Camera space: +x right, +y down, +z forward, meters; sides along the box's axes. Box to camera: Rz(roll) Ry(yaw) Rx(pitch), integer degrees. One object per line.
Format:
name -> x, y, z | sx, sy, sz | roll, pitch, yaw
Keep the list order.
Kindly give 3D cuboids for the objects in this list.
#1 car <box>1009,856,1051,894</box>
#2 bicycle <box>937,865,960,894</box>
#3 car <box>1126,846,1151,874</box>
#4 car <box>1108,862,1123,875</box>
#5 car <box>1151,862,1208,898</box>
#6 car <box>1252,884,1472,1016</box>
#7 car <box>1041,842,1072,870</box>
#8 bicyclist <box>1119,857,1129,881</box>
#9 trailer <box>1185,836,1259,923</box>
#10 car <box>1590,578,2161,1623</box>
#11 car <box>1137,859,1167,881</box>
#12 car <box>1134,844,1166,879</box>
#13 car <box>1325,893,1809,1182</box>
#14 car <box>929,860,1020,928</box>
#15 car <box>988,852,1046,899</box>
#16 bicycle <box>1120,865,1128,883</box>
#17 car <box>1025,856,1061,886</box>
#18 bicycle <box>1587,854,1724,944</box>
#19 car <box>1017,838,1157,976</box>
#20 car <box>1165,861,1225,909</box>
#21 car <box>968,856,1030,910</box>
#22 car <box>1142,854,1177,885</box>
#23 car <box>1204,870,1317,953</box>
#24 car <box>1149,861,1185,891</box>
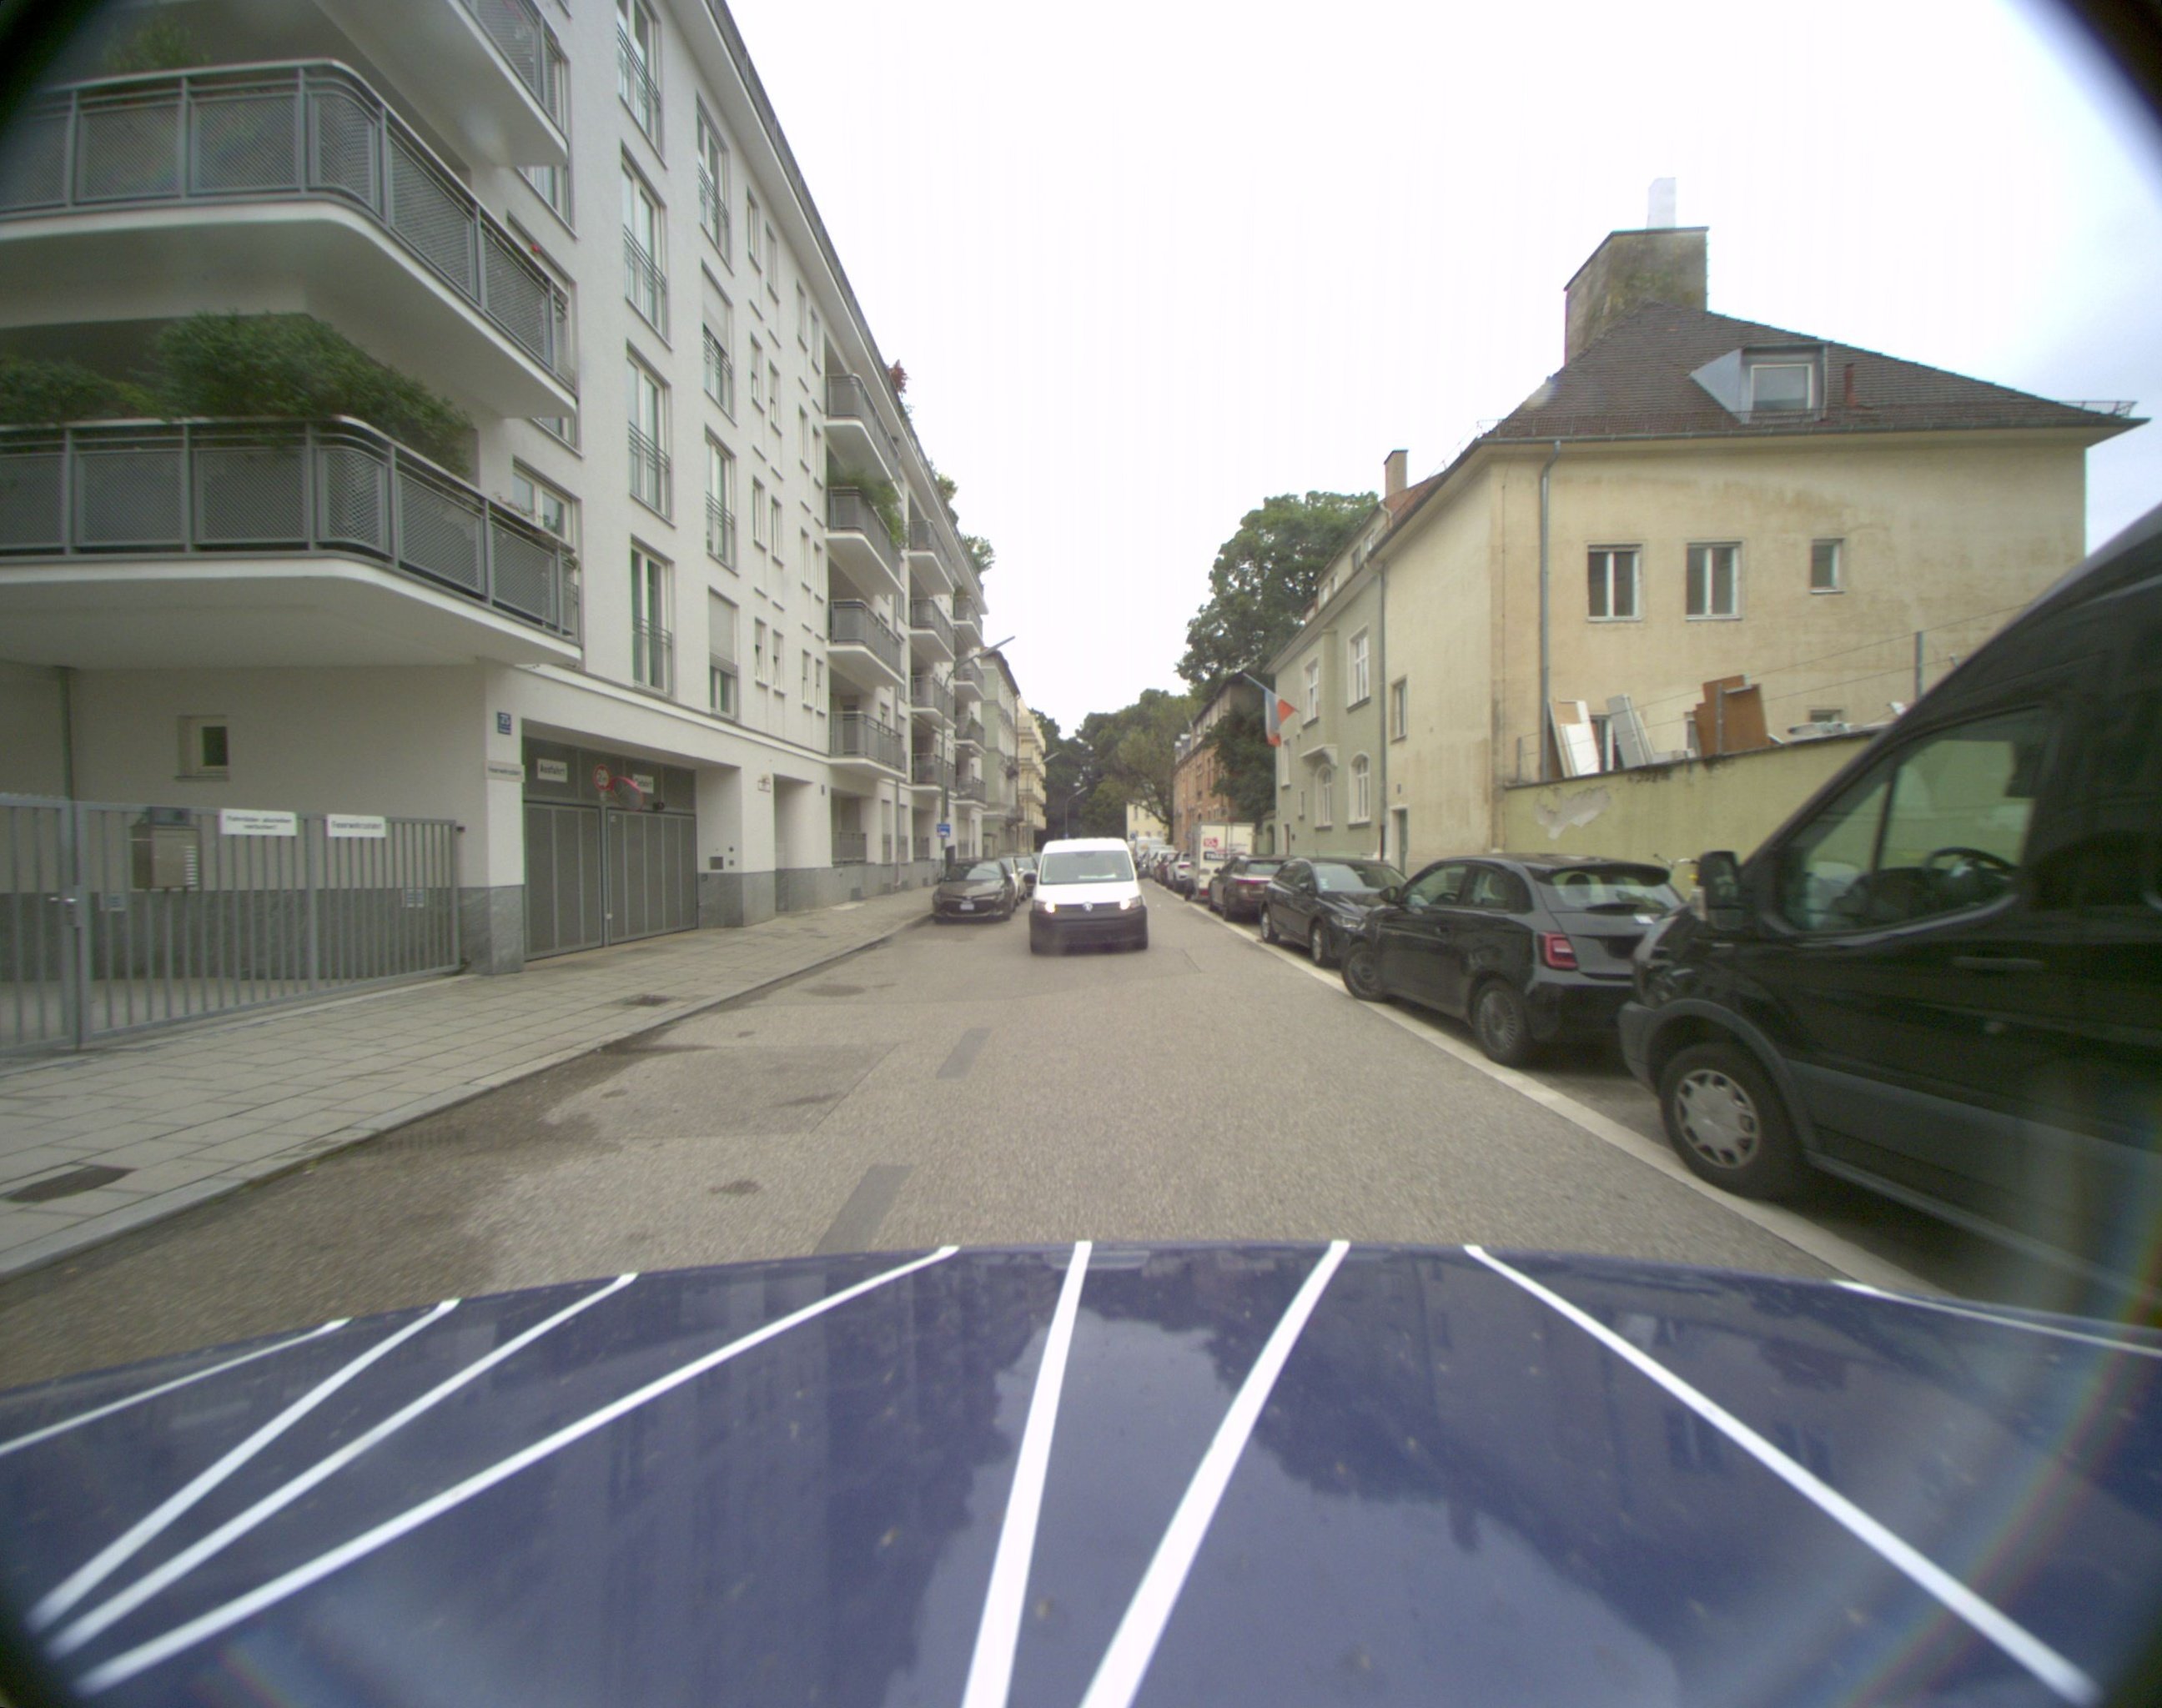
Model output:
car -> -2.273, 0.889, 34.634 | 1.608, 1.521, 3.984 | -4, 0, 0
bicycle -> -5.706, 1.072, 32.729 | 0.629, 1.153, 2.127 | -1, 0, -1
car -> 5.416, 0.613, 72.513 | 2.118, 2.525, 4.422 | 1, 0, 2
car -> 3.861, 1.612, 85.461 | 1.585, 1.403, 3.612 | -1, 1, 2
car -> 4.380, 1.126, 34.359 | 1.865, 1.404, 4.332 | 1, 1, -2
car -> 3.873, 1.252, 11.225 | 1.705, 1.437, 3.824 | -2, -1, -2
car -> -1.758, 0.152, 55.468 | 1.858, 1.885, 4.592 | -4, 0, 2
bicyclist -> 2.845, 0.963, 50.207 | 0.695, 1.552, 0.967 | 0, 0, 3
trailer -> 4.285, 0.728, 23.687 | 1.713, 2.447, 4.387 | 1, 0, 4
car -> 3.721, 0.601, 1.390 | 2.093, 2.620, 5.378 | -1, 0, 2
car -> 4.735, 1.042, 50.848 | 1.694, 1.434, 4.145 | 0, 0, 1
car -> 5.050, 0.515, 56.453 | 1.986, 2.463, 5.223 | 0, 0, 1
car -> 3.608, 1.211, 6.467 | 1.590, 1.529, 3.541 | -2, 0, -6
car -> -2.533, 0.904, 18.937 | 1.768, 1.399, 4.077 | -2, 1, -2
car -> -2.355, 0.760, 28.810 | 1.738, 1.521, 4.621 | -4, 0, 0
bicycle -> 2.823, 1.321, 50.226 | 0.505, 1.121, 1.773 | 0, 0, 4
car -> -1.972, 0.865, 40.471 | 1.662, 1.431, 4.206 | -4, 0, 0
bicycle -> 8.338, 0.608, 11.130 | 0.679, 1.185, 1.777 | -2, 0, 2
car -> 0.155, 0.692, 12.039 | 1.776, 1.761, 4.000 | -2, 0, 2
car -> 4.242, 1.113, 28.772 | 1.691, 1.594, 3.920 | 1, 1, 0
car -> -2.519, 0.852, 24.016 | 1.523, 1.521, 3.526 | -2, 0, 0
car -> 4.714, 0.913, 45.979 | 1.694, 1.793, 4.145 | 0, 0, 0
car -> 3.971, 1.205, 17.575 | 1.770, 1.529, 4.541 | 1, 1, 3
car -> 4.461, 1.100, 39.667 | 1.477, 1.458, 3.313 | 0, 0, -1
